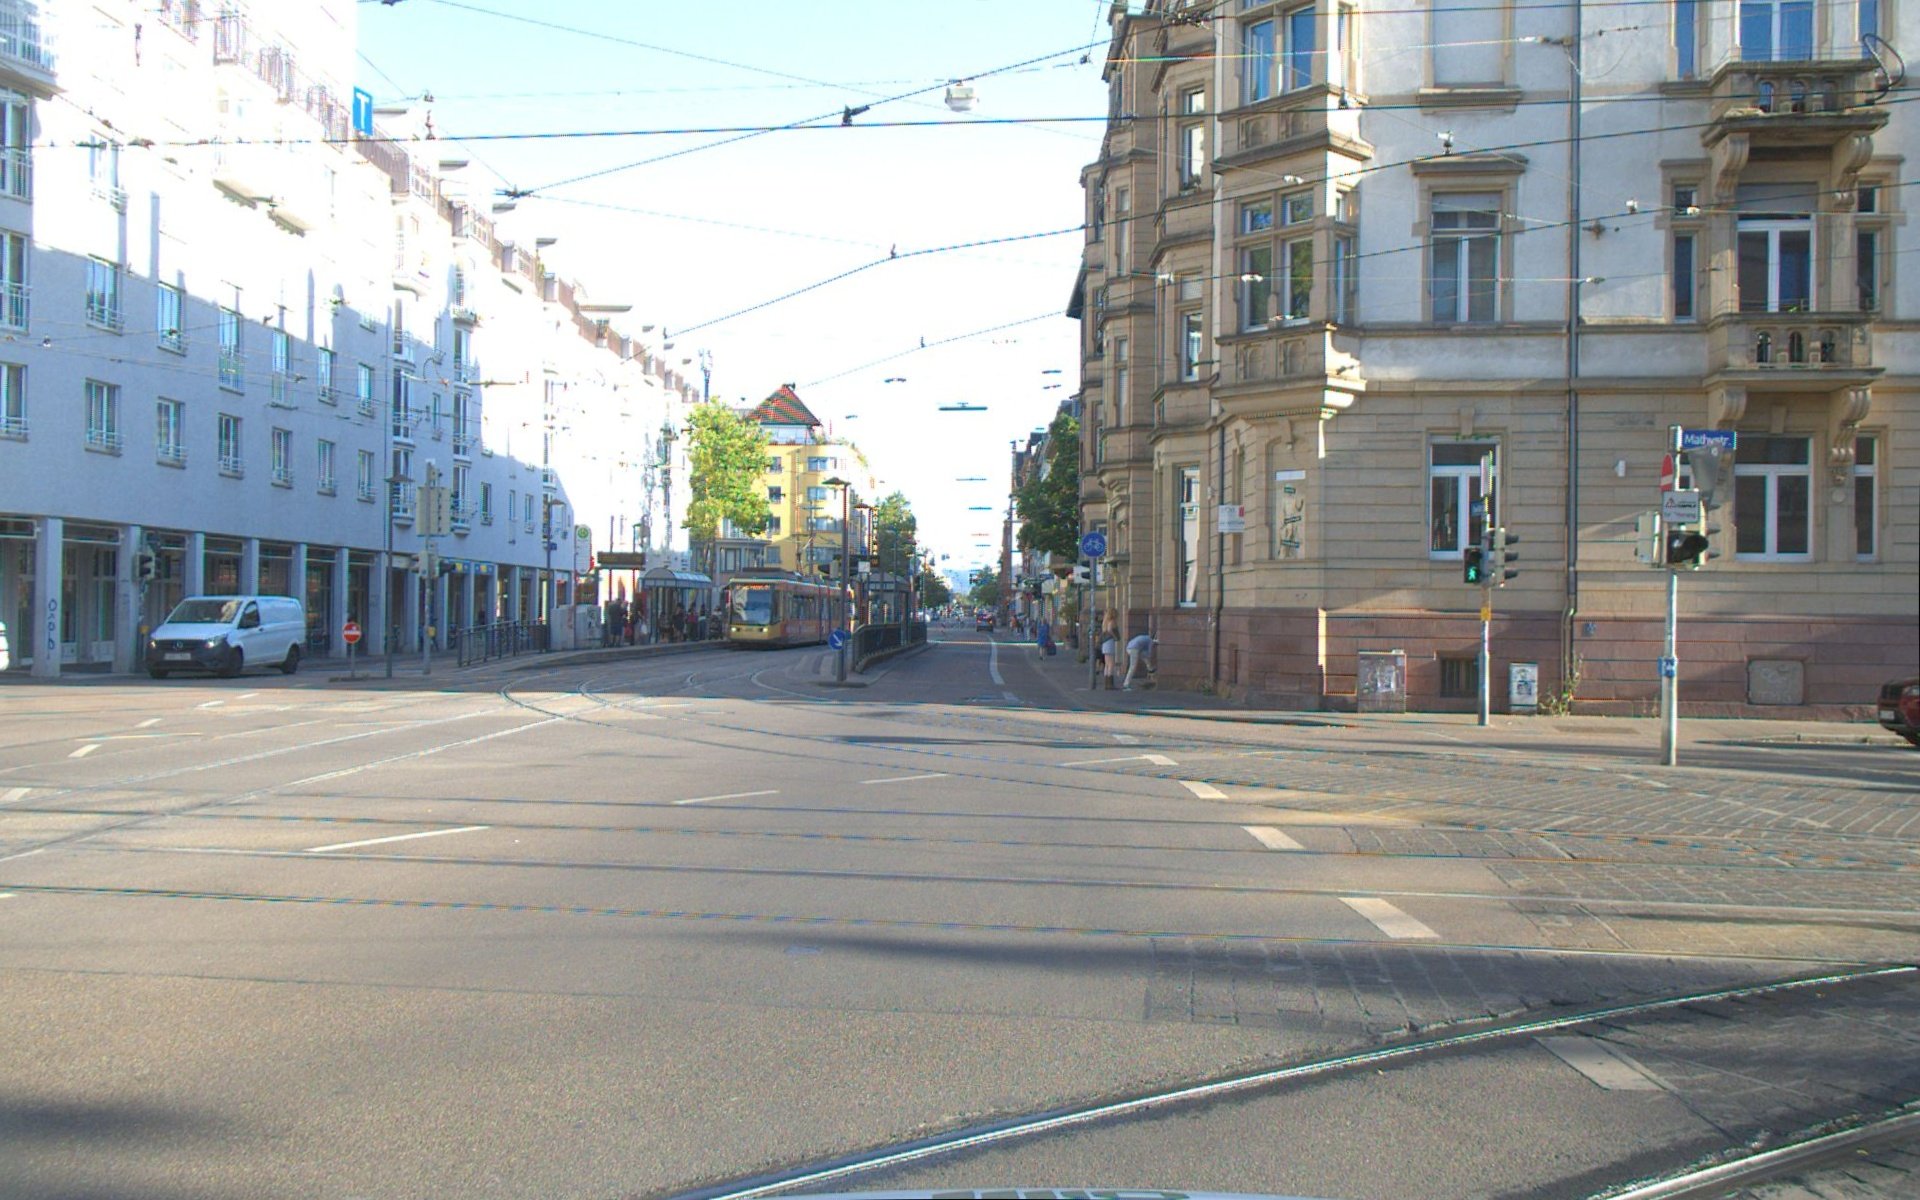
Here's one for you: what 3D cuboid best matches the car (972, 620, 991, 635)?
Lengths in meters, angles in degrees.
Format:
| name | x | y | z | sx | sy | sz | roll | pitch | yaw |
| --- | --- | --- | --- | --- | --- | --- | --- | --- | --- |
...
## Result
| name | x | y | z | sx | sy | sz | roll | pitch | yaw |
| --- | --- | --- | --- | --- | --- | --- | --- | --- | --- |
| car | 2.268 | 2.840 | 173.505 | 1.952 | 1.475 | 4.000 | 1 | 0 | 0 |

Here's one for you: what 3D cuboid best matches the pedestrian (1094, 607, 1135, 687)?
| name | x | y | z | sx | sy | sz | roll | pitch | yaw |
| --- | --- | --- | --- | --- | --- | --- | --- | --- | --- |
| pedestrian | 3.418 | 1.043 | 36.621 | 0.778 | 1.751 | 0.719 | -1 | -2 | -1 |

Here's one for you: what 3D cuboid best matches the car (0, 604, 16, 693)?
| name | x | y | z | sx | sy | sz | roll | pitch | yaw |
| --- | --- | --- | --- | --- | --- | --- | --- | --- | --- |
| car | -19.446 | 0.870 | 29.216 | 1.954 | 1.648 | 4.507 | 0 | -1 | 25 |

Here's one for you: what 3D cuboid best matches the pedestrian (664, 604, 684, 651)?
| name | x | y | z | sx | sy | sz | roll | pitch | yaw |
| --- | --- | --- | --- | --- | --- | --- | --- | --- | --- |
| pedestrian | -11.670 | 1.122 | 67.489 | 0.681 | 1.938 | 0.672 | 1 | -1 | -2 |

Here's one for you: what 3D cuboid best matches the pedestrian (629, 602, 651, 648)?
| name | x | y | z | sx | sy | sz | roll | pitch | yaw |
| --- | --- | --- | --- | --- | --- | --- | --- | --- | --- |
| pedestrian | -11.929 | 0.937 | 61.650 | 0.686 | 1.721 | 0.667 | 1 | -1 | -23 |

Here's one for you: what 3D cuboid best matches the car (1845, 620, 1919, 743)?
| name | x | y | z | sx | sy | sz | roll | pitch | yaw |
| --- | --- | --- | --- | --- | --- | --- | --- | --- | --- |
| car | 14.981 | 1.164 | 23.155 | 4.168 | 1.661 | 1.946 | 1 | -2 | 9 |

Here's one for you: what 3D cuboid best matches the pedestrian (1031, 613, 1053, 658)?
| name | x | y | z | sx | sy | sz | roll | pitch | yaw |
| --- | --- | --- | --- | --- | --- | --- | --- | --- | --- |
| pedestrian | 3.090 | 1.327 | 62.261 | 0.747 | 1.674 | 0.832 | -1 | 0 | 0 |

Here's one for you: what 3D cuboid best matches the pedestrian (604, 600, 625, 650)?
| name | x | y | z | sx | sy | sz | roll | pitch | yaw |
| --- | --- | --- | --- | --- | --- | --- | --- | --- | --- |
| pedestrian | -11.996 | 0.862 | 57.455 | 0.586 | 1.721 | 0.613 | 1 | -1 | 1 |

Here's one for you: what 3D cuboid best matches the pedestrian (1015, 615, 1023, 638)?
| name | x | y | z | sx | sy | sz | roll | pitch | yaw |
| --- | --- | --- | --- | --- | --- | --- | --- | --- | --- |
| pedestrian | 4.749 | 2.151 | 132.499 | 0.548 | 1.828 | 0.651 | 0 | -1 | 7 |

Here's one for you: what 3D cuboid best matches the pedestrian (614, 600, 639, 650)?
| name | x | y | z | sx | sy | sz | roll | pitch | yaw |
| --- | --- | --- | --- | --- | --- | --- | --- | --- | --- |
| pedestrian | -12.018 | 0.897 | 59.530 | 0.752 | 1.763 | 0.517 | 0 | -2 | 42 |

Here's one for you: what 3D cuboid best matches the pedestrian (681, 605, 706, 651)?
| name | x | y | z | sx | sy | sz | roll | pitch | yaw |
| --- | --- | --- | --- | --- | --- | --- | --- | --- | --- |
| pedestrian | -11.238 | 1.176 | 69.693 | 0.913 | 1.938 | 0.880 | 1 | -1 | -2 |

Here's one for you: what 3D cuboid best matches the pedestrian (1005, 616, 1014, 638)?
| name | x | y | z | sx | sy | sz | roll | pitch | yaw |
| --- | --- | --- | --- | --- | --- | --- | --- | --- | --- |
| pedestrian | 4.522 | 2.485 | 151.202 | 0.826 | 1.951 | 0.661 | 1 | -1 | -1 |

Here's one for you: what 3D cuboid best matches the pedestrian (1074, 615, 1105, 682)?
| name | x | y | z | sx | sy | sz | roll | pitch | yaw |
| --- | --- | --- | --- | --- | --- | --- | --- | --- | --- |
| pedestrian | 3.687 | 1.368 | 47.167 | 0.784 | 1.856 | 0.797 | -1 | 0 | 0 |

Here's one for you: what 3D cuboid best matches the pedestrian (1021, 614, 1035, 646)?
| name | x | y | z | sx | sy | sz | roll | pitch | yaw |
| --- | --- | --- | --- | --- | --- | --- | --- | --- | --- |
| pedestrian | 3.964 | 1.753 | 97.078 | 0.699 | 1.805 | 0.773 | -2 | 0 | -3 |

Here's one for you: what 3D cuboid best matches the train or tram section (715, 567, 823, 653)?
| name | x | y | z | sx | sy | sz | roll | pitch | yaw |
| --- | --- | --- | --- | --- | --- | --- | --- | --- | --- |
| train or tram section | -8.563 | 0.404 | 76.255 | 2.825 | 3.551 | 14.171 | -1 | 0 | 2 |

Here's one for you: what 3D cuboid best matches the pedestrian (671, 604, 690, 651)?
| name | x | y | z | sx | sy | sz | roll | pitch | yaw |
| --- | --- | --- | --- | --- | --- | --- | --- | --- | --- |
| pedestrian | -11.503 | 1.138 | 68.047 | 0.681 | 1.938 | 0.672 | 1 | -1 | -2 |

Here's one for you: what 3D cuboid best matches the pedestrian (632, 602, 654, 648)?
| name | x | y | z | sx | sy | sz | roll | pitch | yaw |
| --- | --- | --- | --- | --- | --- | --- | --- | --- | --- |
| pedestrian | -12.173 | 0.958 | 63.457 | 0.686 | 1.721 | 0.667 | 1 | -1 | -23 |

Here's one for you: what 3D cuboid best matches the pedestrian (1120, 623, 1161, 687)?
| name | x | y | z | sx | sy | sz | roll | pitch | yaw |
| --- | --- | --- | --- | --- | --- | --- | --- | --- | --- |
| pedestrian | 3.905 | 1.191 | 35.856 | 0.778 | 1.355 | 0.719 | -1 | -2 | -1 |

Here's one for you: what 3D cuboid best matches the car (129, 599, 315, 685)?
| name | x | y | z | sx | sy | sz | roll | pitch | yaw |
| --- | --- | --- | --- | --- | --- | --- | --- | --- | --- |
| car | -17.176 | 0.944 | 38.849 | 1.953 | 1.870 | 5.346 | 0 | 0 | 0 |

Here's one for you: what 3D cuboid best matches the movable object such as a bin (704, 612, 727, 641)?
| name | x | y | z | sx | sy | sz | roll | pitch | yaw |
| --- | --- | --- | --- | --- | --- | --- | --- | --- | --- |
| movable object such as a bin | -11.193 | 1.197 | 75.768 | 0.918 | 1.309 | 0.934 | 1 | -1 | -2 |
